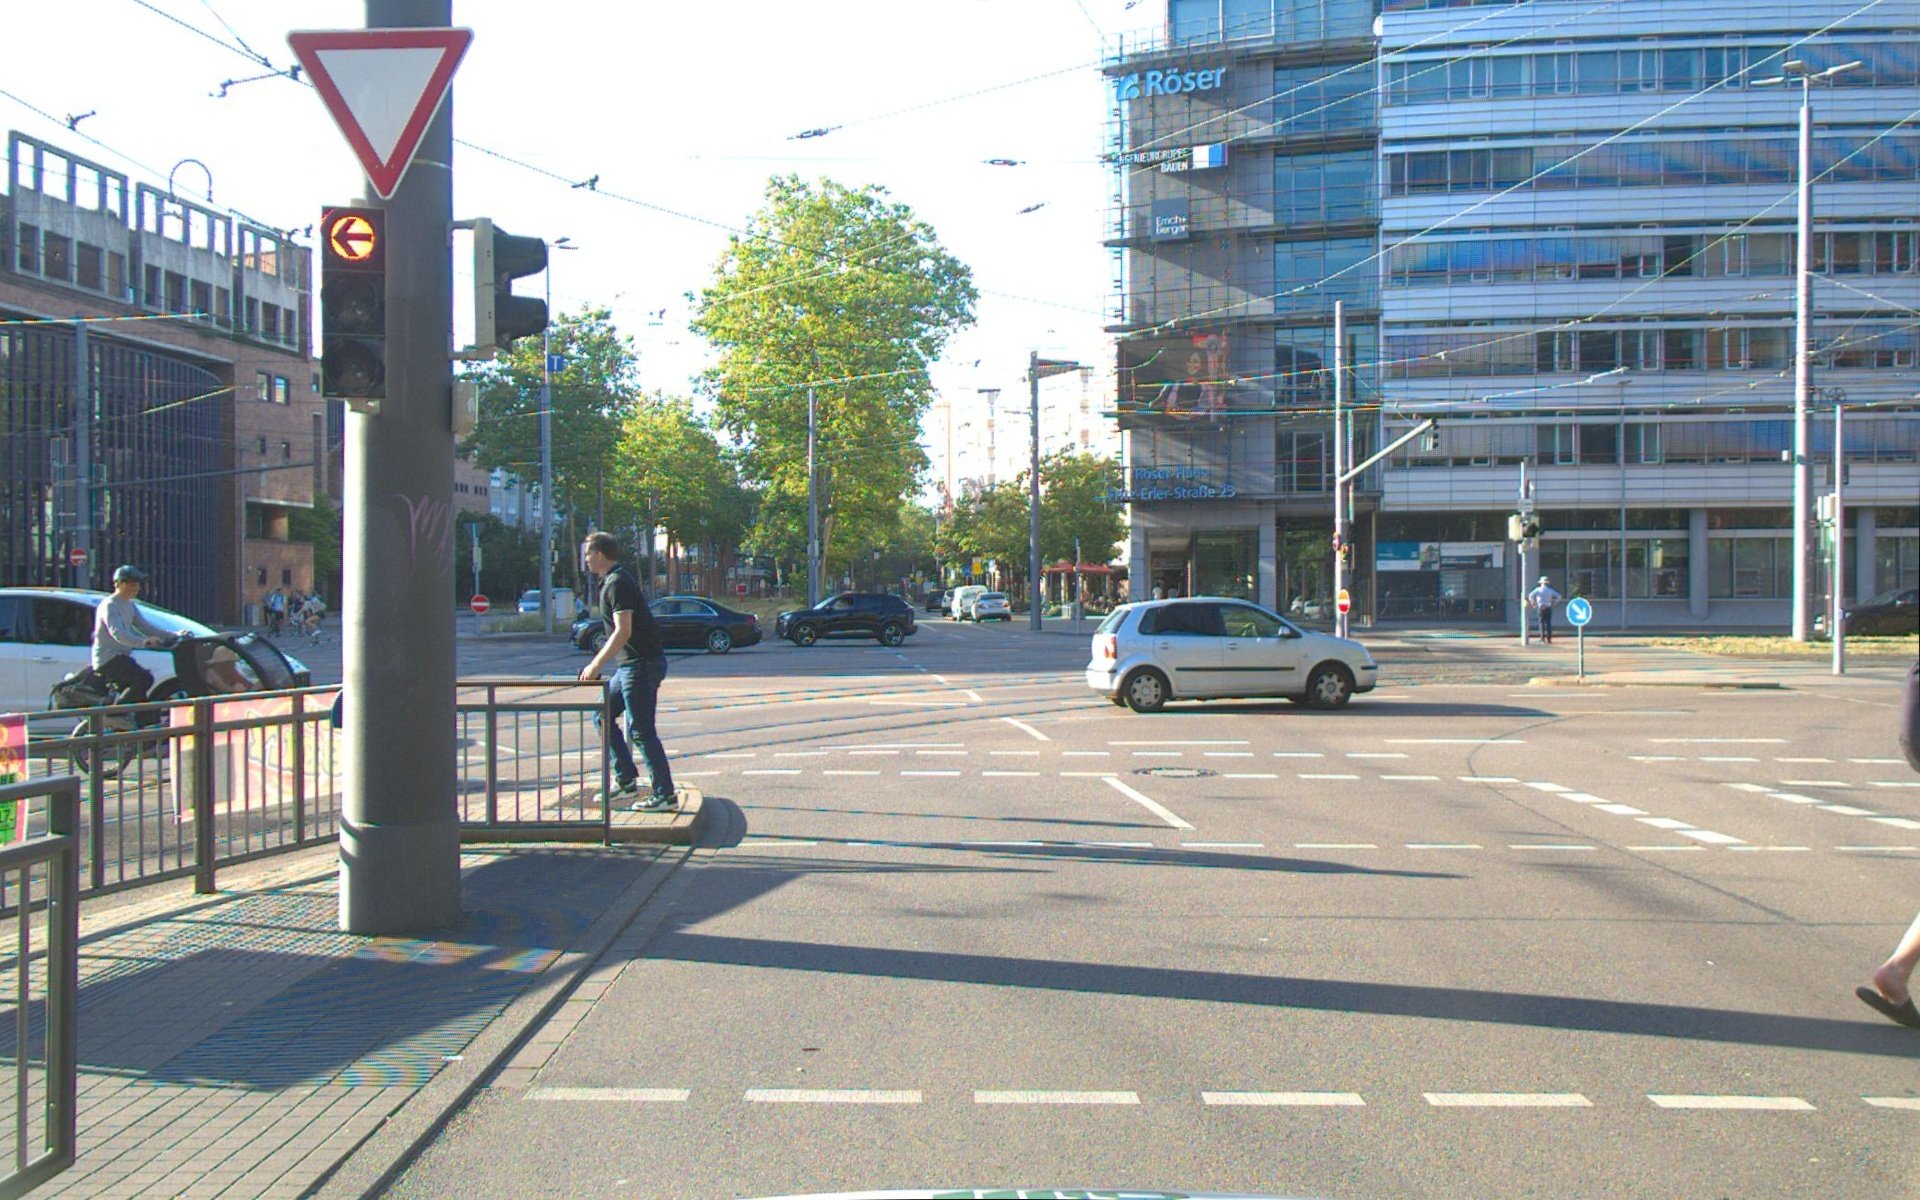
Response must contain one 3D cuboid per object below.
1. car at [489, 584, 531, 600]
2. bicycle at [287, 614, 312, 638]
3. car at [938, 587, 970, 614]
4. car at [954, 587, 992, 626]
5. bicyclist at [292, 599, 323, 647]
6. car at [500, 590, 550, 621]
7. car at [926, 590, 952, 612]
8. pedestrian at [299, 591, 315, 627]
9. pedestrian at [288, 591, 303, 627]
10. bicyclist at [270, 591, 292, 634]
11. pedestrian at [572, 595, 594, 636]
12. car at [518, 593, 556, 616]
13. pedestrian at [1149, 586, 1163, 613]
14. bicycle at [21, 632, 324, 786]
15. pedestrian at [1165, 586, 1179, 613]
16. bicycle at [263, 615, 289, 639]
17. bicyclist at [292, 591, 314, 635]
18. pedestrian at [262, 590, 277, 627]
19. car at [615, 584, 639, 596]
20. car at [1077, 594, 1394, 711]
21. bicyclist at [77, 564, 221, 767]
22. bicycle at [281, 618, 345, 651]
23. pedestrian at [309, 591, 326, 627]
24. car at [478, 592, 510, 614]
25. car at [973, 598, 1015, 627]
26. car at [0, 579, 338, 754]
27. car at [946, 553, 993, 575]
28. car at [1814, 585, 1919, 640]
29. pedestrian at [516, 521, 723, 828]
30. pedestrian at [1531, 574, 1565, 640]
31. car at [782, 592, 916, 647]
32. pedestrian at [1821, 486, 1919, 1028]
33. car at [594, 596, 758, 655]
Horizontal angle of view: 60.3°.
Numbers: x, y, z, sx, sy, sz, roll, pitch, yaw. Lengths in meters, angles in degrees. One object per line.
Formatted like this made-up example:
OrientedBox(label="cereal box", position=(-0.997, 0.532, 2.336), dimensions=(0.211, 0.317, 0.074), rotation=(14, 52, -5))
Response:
OrientedBox(label="car", position=(-46.724, -0.825, 171.654), dimensions=(3.948, 1.579, 1.589), rotation=(1, -1, -32))
OrientedBox(label="bicycle", position=(-26.108, 1.024, 65.420), dimensions=(0.503, 0.897, 1.835), rotation=(-1, 0, -8))
OrientedBox(label="car", position=(-0.378, 0.029, 105.000), dimensions=(1.953, 1.691, 3.999), rotation=(-1, 0, -1))
OrientedBox(label="car", position=(0.675, 0.348, 89.701), dimensions=(1.953, 2.026, 3.999), rotation=(-1, 0, -1))
OrientedBox(label="bicyclist", position=(-18.988, 0.661, 48.153), dimensions=(0.806, 1.390, 0.398), rotation=(-1, 0, -19))
OrientedBox(label="car", position=(-22.650, 0.288, 86.216), dimensions=(1.955, 1.534, 3.994), rotation=(-1, 0, -6))
OrientedBox(label="car", position=(-1.635, 0.067, 126.698), dimensions=(1.953, 1.691, 3.999), rotation=(-1, 0, -1))
OrientedBox(label="pedestrian", position=(-32.850, 0.434, 83.172), dimensions=(0.511, 1.810, 0.546), rotation=(-1, 0, 6))
OrientedBox(label="pedestrian", position=(-33.938, 0.465, 84.499), dimensions=(0.479, 1.842, 0.546), rotation=(-1, 0, 6))
OrientedBox(label="bicyclist", position=(-26.754, 0.487, 65.214), dimensions=(0.582, 1.705, 0.788), rotation=(-1, 0, -7))
OrientedBox(label="pedestrian", position=(-14.286, 0.588, 62.676), dimensions=(0.740, 1.557, 0.507), rotation=(1, 0, -8))
OrientedBox(label="car", position=(-29.008, 0.291, 113.558), dimensions=(1.955, 1.534, 3.994), rotation=(-1, 0, -6))
OrientedBox(label="pedestrian", position=(10.808, -0.021, 91.117), dimensions=(0.723, 1.491, 0.537), rotation=(-1, 0, 8))
OrientedBox(label="bicycle", position=(-6.809, 0.919, 14.401), dimensions=(2.112, 1.248, 1.073), rotation=(0, 1, 3))
OrientedBox(label="pedestrian", position=(11.635, -0.024, 90.744), dimensions=(0.691, 1.491, 0.384), rotation=(-1, 0, 8))
OrientedBox(label="bicycle", position=(-26.903, 1.056, 65.102), dimensions=(0.503, 0.897, 1.835), rotation=(-1, 0, -8))
OrientedBox(label="bicyclist", position=(-26.011, 0.503, 65.480), dimensions=(0.582, 1.705, 0.788), rotation=(-1, 0, -7))
OrientedBox(label="pedestrian", position=(-34.776, 0.409, 83.342), dimensions=(0.479, 1.842, 0.546), rotation=(-1, 0, 6))
OrientedBox(label="car", position=(-43.657, -1.374, 216.791), dimensions=(1.951, 1.534, 4.003), rotation=(-1, 0, 7))
OrientedBox(label="car", position=(3.594, 0.657, 21.993), dimensions=(3.832, 1.459, 1.823), rotation=(0, 0, -5))
OrientedBox(label="bicyclist", position=(-7.016, 0.555, 14.341), dimensions=(0.885, 1.710, 0.691), rotation=(-1, 0, 2))
OrientedBox(label="bicycle", position=(-18.851, 1.005, 48.199), dimensions=(1.715, 0.915, 0.407), rotation=(-1, 0, -19))
OrientedBox(label="pedestrian", position=(-32.804, 0.457, 84.436), dimensions=(0.627, 1.842, 0.546), rotation=(-1, 0, 6))
OrientedBox(label="car", position=(-33.966, 0.226, 120.626), dimensions=(1.873, 1.536, 3.988), rotation=(1, 0, -12))
OrientedBox(label="car", position=(1.666, 0.595, 82.876), dimensions=(1.953, 1.355, 3.999), rotation=(-1, 0, -1))
OrientedBox(label="car", position=(-9.435, 0.671, 17.813), dimensions=(4.741, 1.758, 1.997), rotation=(0, 0, -7))
OrientedBox(label="car", position=(0.854, -3.093, 141.252), dimensions=(3.681, 1.780, 1.783), rotation=(1, 0, 14))
OrientedBox(label="car", position=(25.411, 0.312, 44.267), dimensions=(4.151, 1.417, 1.796), rotation=(-1, 0, 4))
OrientedBox(label="pedestrian", position=(-2.138, 0.448, 10.559), dimensions=(1.185, 1.854, 1.040), rotation=(0, 0, -6))
OrientedBox(label="pedestrian", position=(15.216, 0.181, 42.835), dimensions=(0.704, 1.711, 0.557), rotation=(1, 0, 6))
OrientedBox(label="car", position=(-3.311, 0.554, 49.113), dimensions=(3.791, 1.533, 1.791), rotation=(-1, 0, -11))
OrientedBox(label="pedestrian", position=(3.879, 0.560, 6.047), dimensions=(1.053, 1.904, 0.737), rotation=(1, -1, -8))
OrientedBox(label="car", position=(-7.469, 0.644, 43.645), dimensions=(4.164, 1.459, 1.791), rotation=(-1, 0, -11))
